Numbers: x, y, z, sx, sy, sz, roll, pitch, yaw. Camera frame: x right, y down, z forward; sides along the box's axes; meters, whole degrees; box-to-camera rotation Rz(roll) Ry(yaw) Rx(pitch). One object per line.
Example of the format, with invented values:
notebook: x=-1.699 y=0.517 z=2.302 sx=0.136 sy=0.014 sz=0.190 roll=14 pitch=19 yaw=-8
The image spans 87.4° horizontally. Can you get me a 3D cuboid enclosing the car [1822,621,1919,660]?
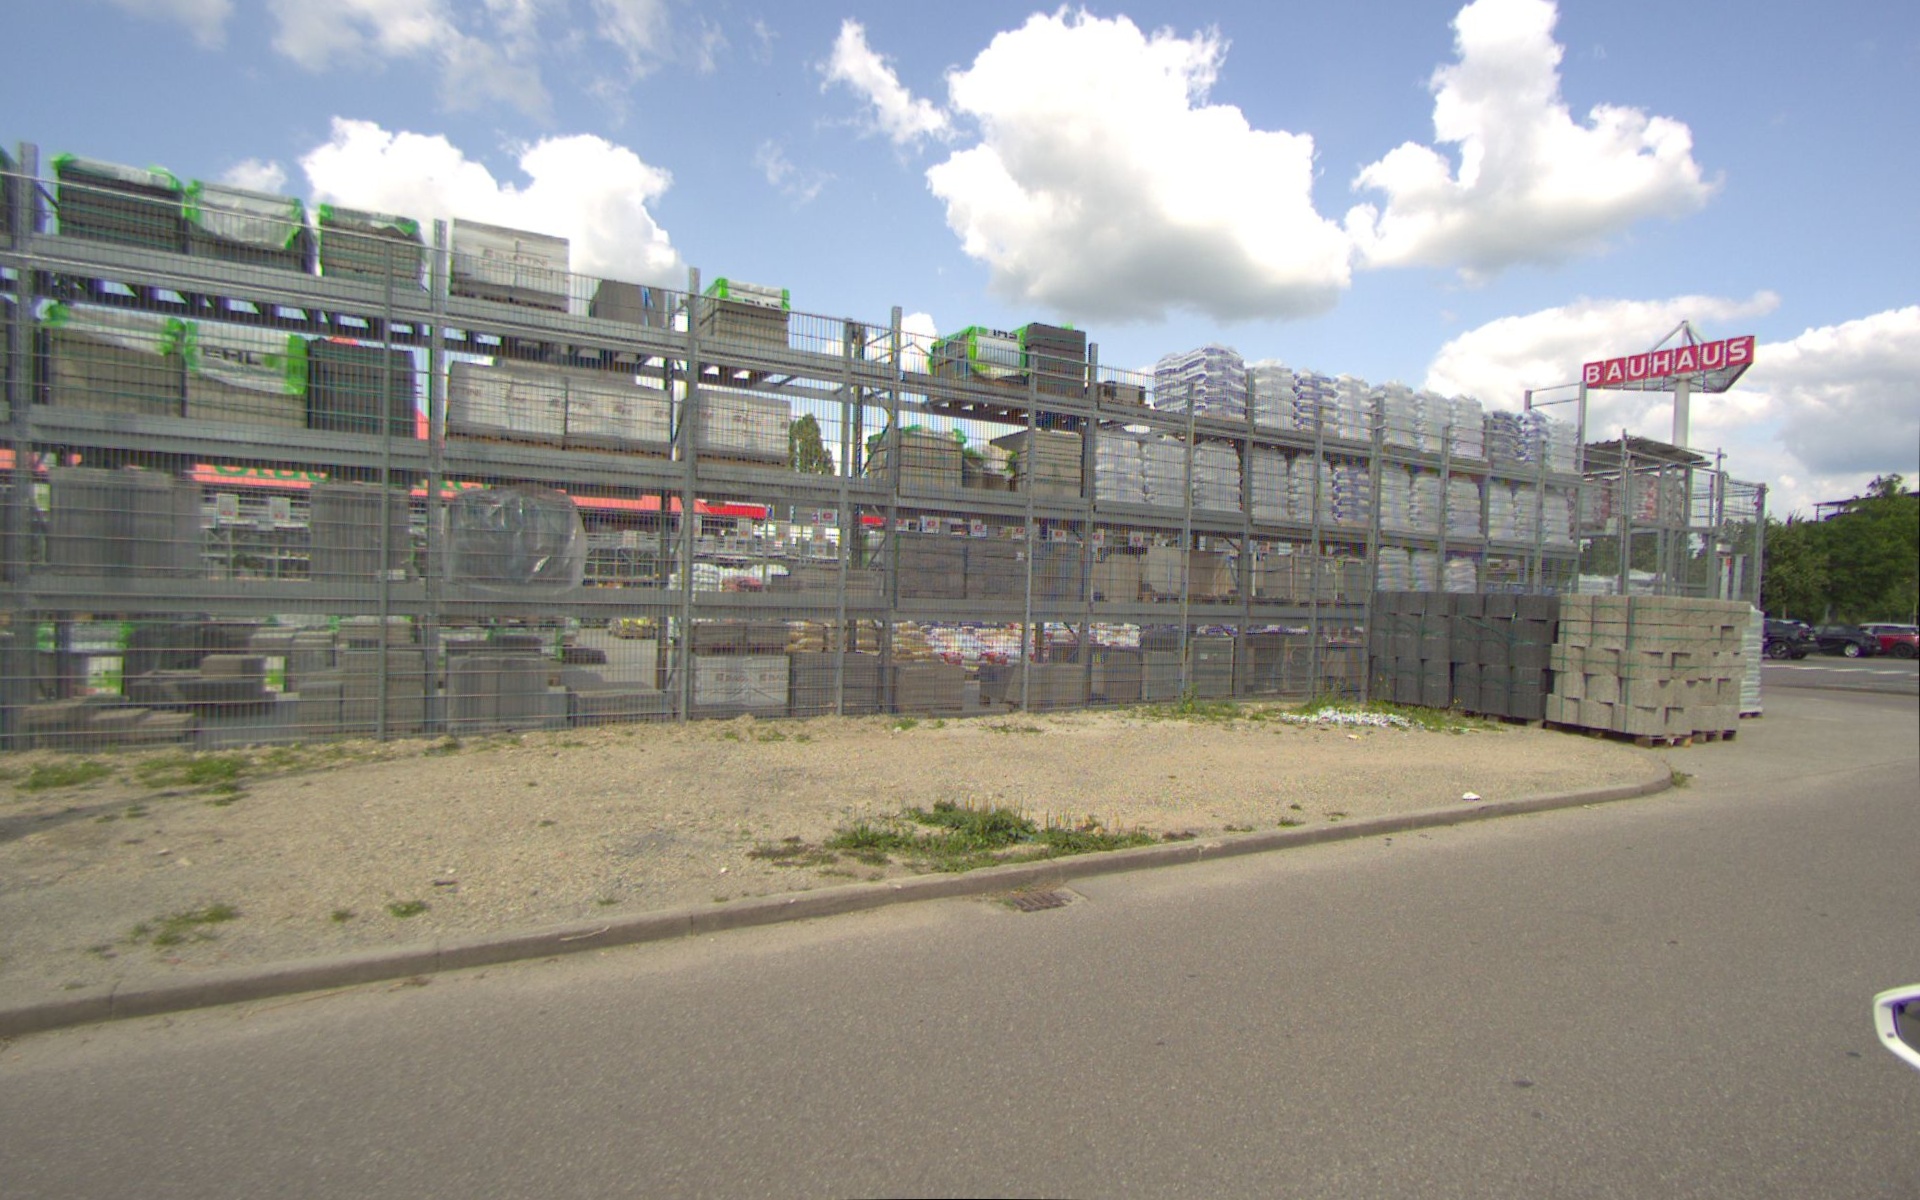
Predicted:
car: x=41.986 y=1.819 z=45.996 sx=1.690 sy=1.602 sz=3.418 roll=1 pitch=0 yaw=-31

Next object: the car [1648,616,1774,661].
car: x=30.276 y=1.521 z=40.584 sx=1.766 sy=1.646 sz=3.671 roll=1 pitch=0 yaw=-34

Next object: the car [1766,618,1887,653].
car: x=39.234 y=1.596 z=45.565 sx=1.710 sy=1.387 sz=3.850 roll=1 pitch=0 yaw=-32

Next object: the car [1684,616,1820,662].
car: x=32.497 y=1.572 z=41.325 sx=1.763 sy=1.646 sz=4.050 roll=1 pitch=0 yaw=-31

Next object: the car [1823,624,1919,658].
car: x=43.901 y=1.924 z=47.705 sx=1.746 sy=1.417 sz=4.054 roll=1 pitch=0 yaw=-31
